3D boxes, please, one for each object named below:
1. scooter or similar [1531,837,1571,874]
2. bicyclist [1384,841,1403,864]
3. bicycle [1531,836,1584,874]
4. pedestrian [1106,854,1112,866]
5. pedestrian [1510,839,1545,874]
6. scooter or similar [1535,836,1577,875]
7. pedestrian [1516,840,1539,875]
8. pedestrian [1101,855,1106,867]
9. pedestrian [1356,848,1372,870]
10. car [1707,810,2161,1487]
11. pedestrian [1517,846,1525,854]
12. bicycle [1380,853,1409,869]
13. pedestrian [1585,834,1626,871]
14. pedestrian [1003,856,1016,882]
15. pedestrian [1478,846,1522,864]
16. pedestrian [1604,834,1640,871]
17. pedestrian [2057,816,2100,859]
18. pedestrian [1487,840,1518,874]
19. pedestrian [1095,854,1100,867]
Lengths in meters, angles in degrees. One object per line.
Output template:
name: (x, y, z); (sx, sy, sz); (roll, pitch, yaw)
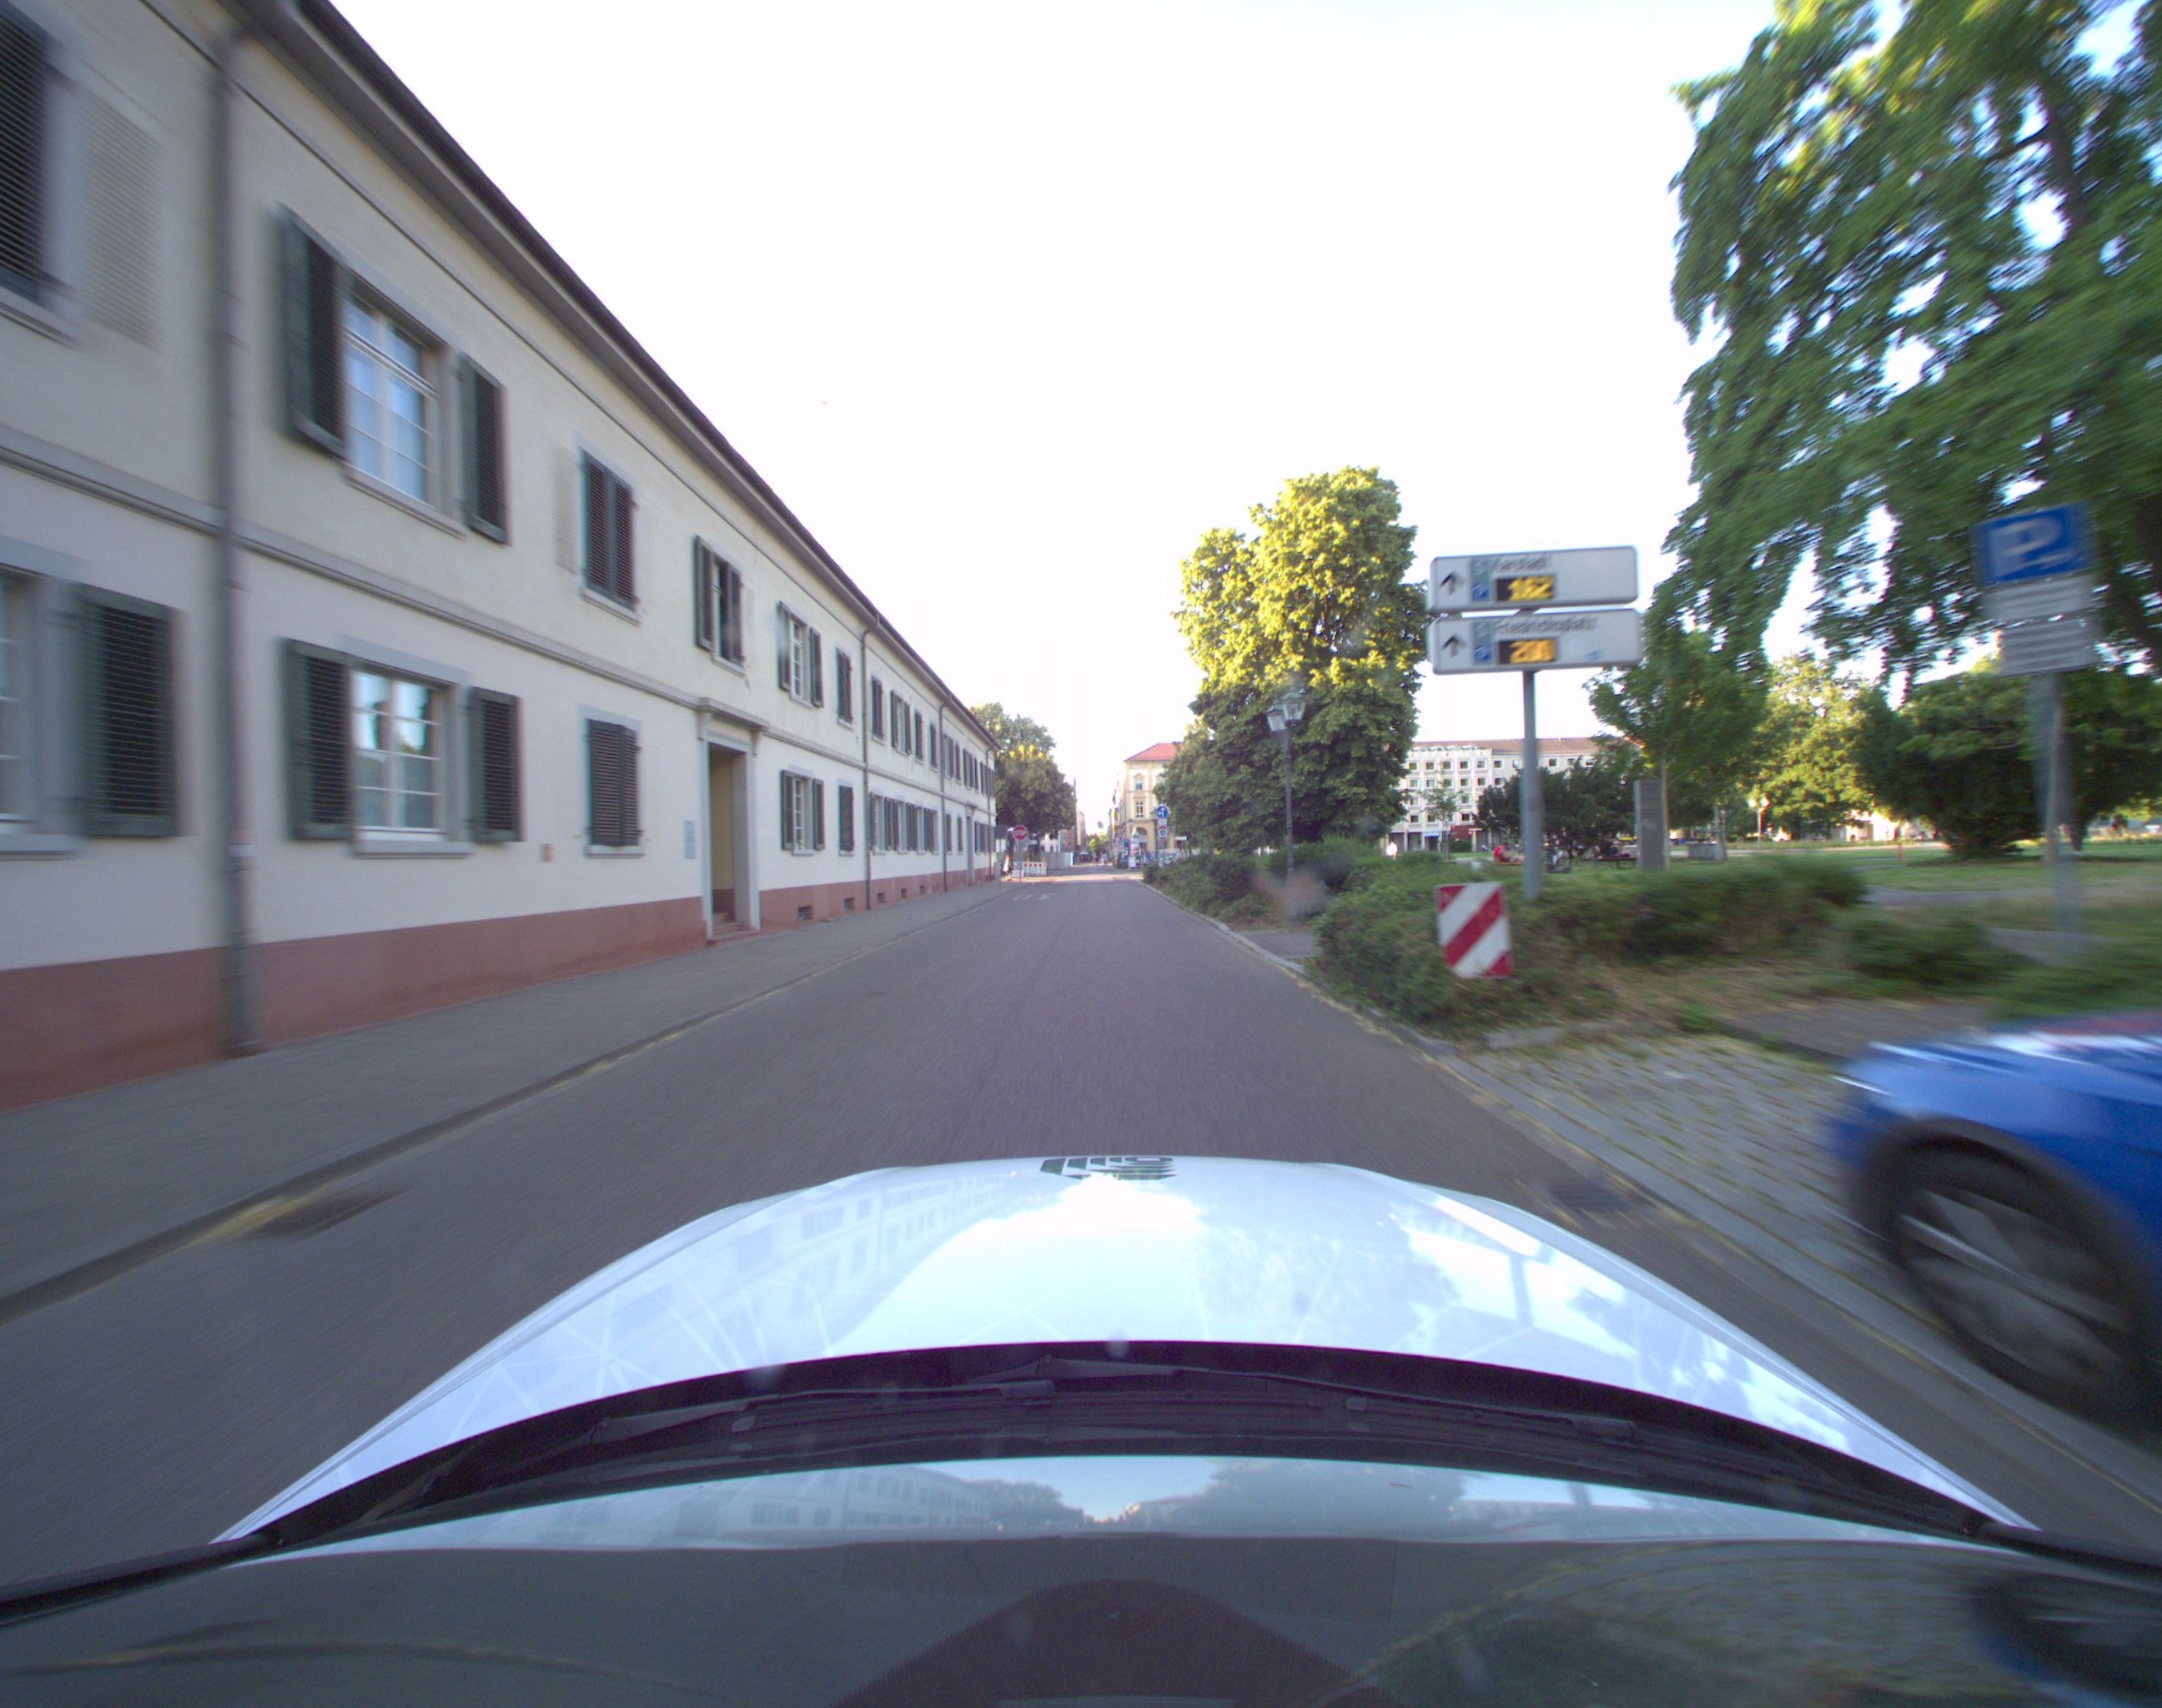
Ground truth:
scooter or similar: (16.193, 0.051, 28.064); (1.219, 1.245, 0.416); (-2, -1, -16)
bicyclist: (22.979, -0.089, 59.887); (1.060, 1.633, 0.594); (-2, 0, -8)
bicycle: (17.136, 0.025, 29.332); (0.618, 1.300, 2.016); (-2, 0, -3)
pedestrian: (3.838, 0.837, 112.014); (0.655, 1.617, 0.745); (-2, 0, 1)
pedestrian: (15.969, 0.084, 29.148); (0.803, 1.191, 0.790); (-2, -1, 4)
scooter or similar: (16.023, 0.058, 27.449); (1.217, 1.245, 0.416); (-2, -1, -12)
pedestrian: (15.383, 0.118, 28.055); (0.656, 1.191, 0.800); (-3, -1, 29)
pedestrian: (3.135, 0.901, 111.993); (0.655, 1.617, 0.745); (-2, 0, 1)
pedestrian: (18.011, 0.332, 51.850); (0.595, 1.342, 0.817); (-2, -1, -4)
car: (3.304, 0.644, 0.798); (1.719, 1.488, 4.609); (-5, 0, 0)
pedestrian: (51.675, -0.512, 95.640); (0.512, 0.925, 0.616); (-2, -1, -24)
bicycle: (23.018, 0.483, 59.865); (1.926, 1.121, 0.594); (-2, 0, -9)
pedestrian: (19.787, -0.062, 30.749); (0.918, 1.347, 0.880); (-2, -1, -15)
pedestrian: (-4.678, 0.992, 53.360); (0.731, 1.689, 0.836); (-2, -1, 0)
pedestrian: (14.727, 0.050, 28.641); (0.541, 0.549, 1.369); (-5, 0, -18)
pedestrian: (20.615, -0.057, 31.045); (0.760, 1.347, 0.784); (-2, -1, -15)
pedestrian: (40.818, -0.665, 33.326); (0.769, 1.747, 0.758); (-2, -1, -2)
pedestrian: (15.212, 0.123, 29.420); (0.719, 1.191, 0.748); (-2, -1, 4)
pedestrian: (2.321, 0.864, 113.799); (0.655, 1.760, 0.745); (-2, 0, 2)
